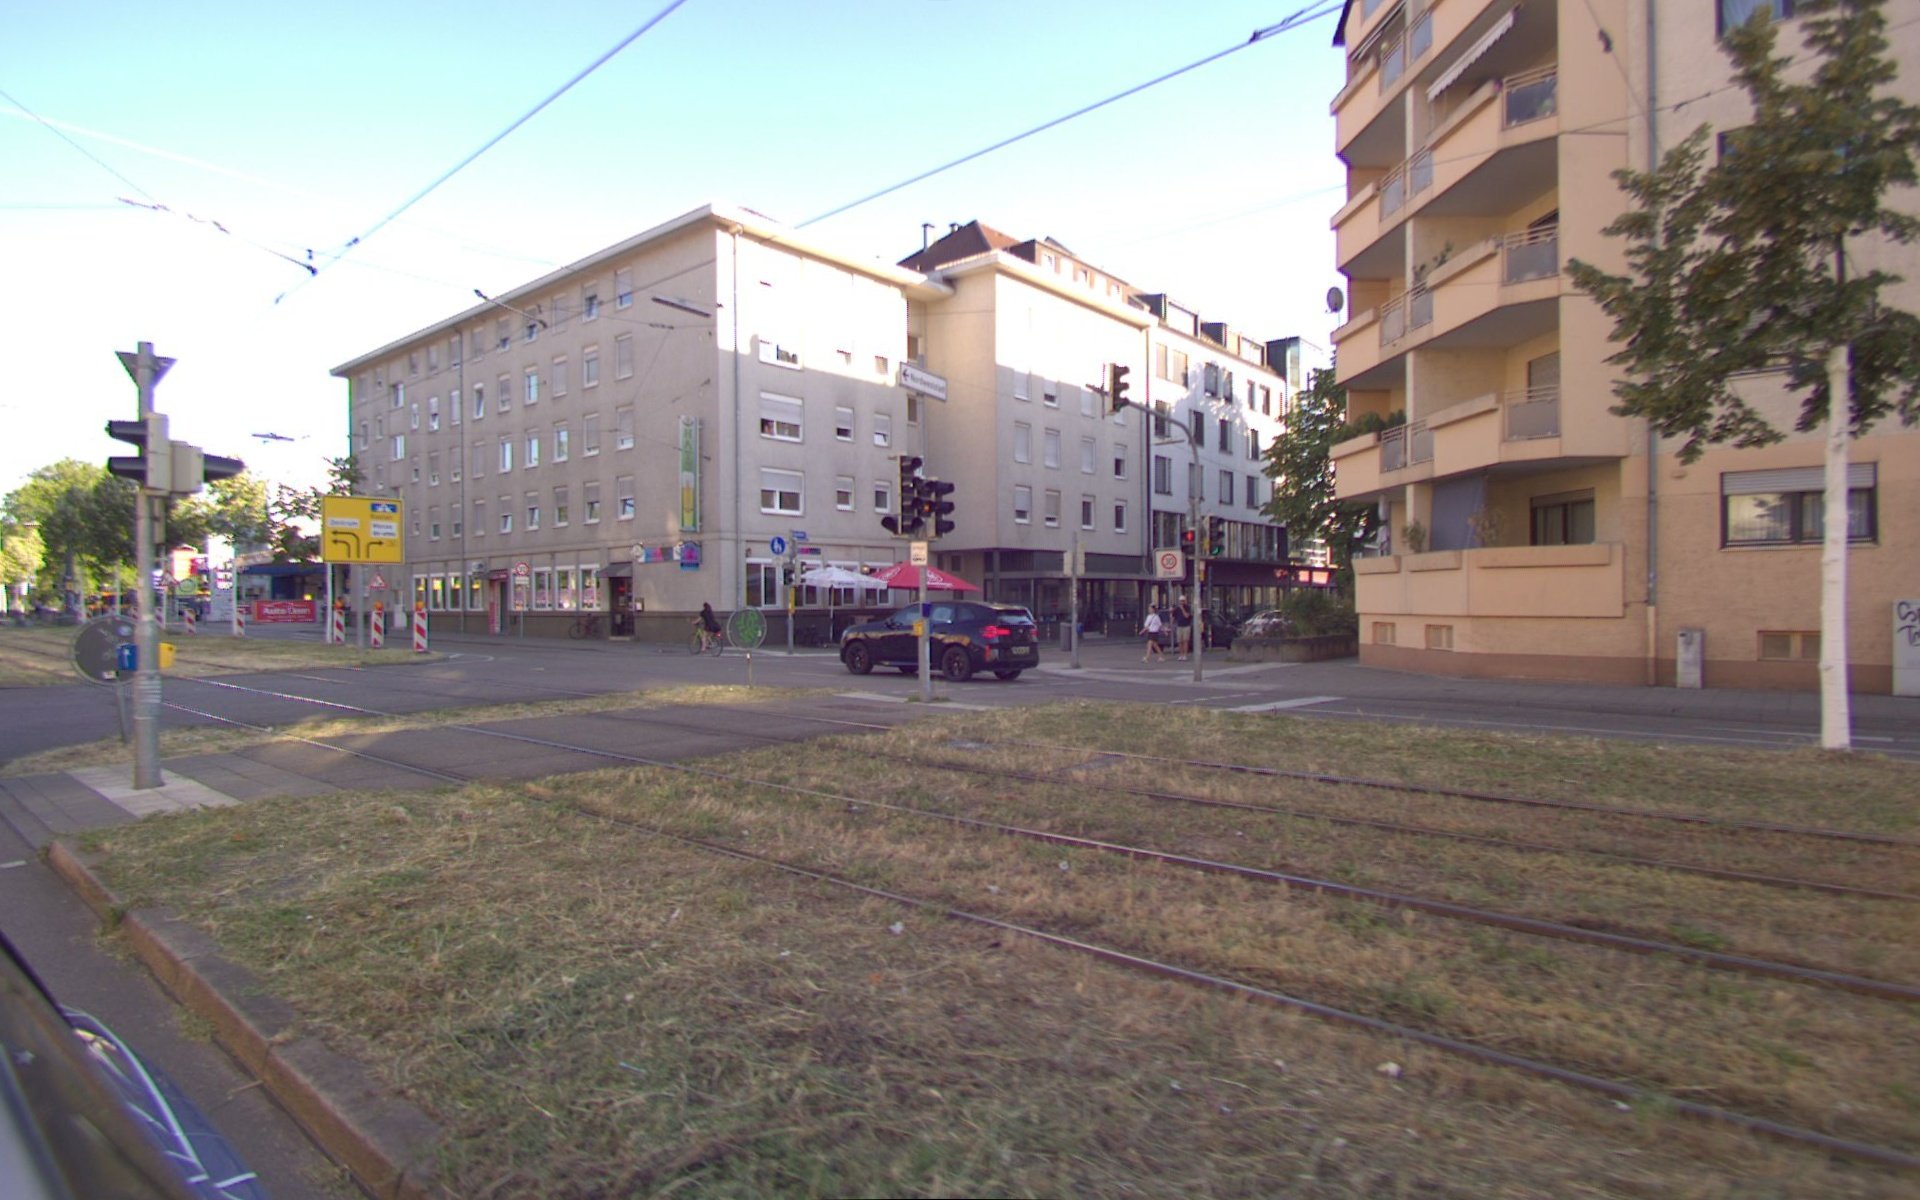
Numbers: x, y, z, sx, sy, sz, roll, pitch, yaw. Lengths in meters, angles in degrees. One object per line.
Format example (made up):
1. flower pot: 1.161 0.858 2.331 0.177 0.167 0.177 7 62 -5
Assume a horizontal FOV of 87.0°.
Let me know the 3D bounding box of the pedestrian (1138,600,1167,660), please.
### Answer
1. pedestrian: 5.158 0.804 27.081 0.542 1.564 0.516 -2 2 -43

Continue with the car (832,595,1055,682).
1. car: -0.449 0.738 21.523 4.746 1.646 1.877 0 0 42

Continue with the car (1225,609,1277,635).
1. car: 15.815 1.171 54.949 1.431 1.285 3.310 0 2 41

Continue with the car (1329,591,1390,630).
1. car: 21.768 0.542 55.039 1.998 2.029 3.947 0 1 40

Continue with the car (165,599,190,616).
1. car: -77.691 0.761 100.469 1.756 1.567 4.007 -2 2 -40

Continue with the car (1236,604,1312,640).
1. car: 12.436 0.829 40.011 1.771 1.273 3.265 0 1 40

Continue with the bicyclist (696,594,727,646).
1. bicyclist: -7.800 0.626 31.756 0.619 1.598 0.809 -1 0 -45

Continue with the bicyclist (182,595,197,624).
1. bicyclist: -51.278 0.626 67.338 0.809 1.897 0.644 -1 -1 42

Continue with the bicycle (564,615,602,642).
1. bicycle: -14.946 1.116 40.143 1.844 1.031 0.601 0 2 41

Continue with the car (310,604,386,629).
1. car: -38.510 1.034 63.703 1.906 1.480 3.680 -3 -2 40

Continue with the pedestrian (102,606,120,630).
1. pedestrian: -45.989 0.969 54.808 0.581 1.280 0.655 -1 1 42

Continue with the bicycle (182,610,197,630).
1. bicycle: -51.245 1.326 67.318 1.870 1.267 0.450 -2 0 42

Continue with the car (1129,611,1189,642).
1. car: 9.557 1.228 48.497 1.503 1.321 3.091 0 2 41

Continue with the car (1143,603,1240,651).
1. car: 7.864 0.885 34.159 1.994 1.453 3.956 -1 0 33

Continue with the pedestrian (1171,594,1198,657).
1. pedestrian: 6.210 0.702 28.024 0.583 1.717 0.463 -2 2 -43

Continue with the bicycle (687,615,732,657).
1. bicycle: -7.877 1.118 31.824 0.450 1.267 1.871 -1 0 -45
